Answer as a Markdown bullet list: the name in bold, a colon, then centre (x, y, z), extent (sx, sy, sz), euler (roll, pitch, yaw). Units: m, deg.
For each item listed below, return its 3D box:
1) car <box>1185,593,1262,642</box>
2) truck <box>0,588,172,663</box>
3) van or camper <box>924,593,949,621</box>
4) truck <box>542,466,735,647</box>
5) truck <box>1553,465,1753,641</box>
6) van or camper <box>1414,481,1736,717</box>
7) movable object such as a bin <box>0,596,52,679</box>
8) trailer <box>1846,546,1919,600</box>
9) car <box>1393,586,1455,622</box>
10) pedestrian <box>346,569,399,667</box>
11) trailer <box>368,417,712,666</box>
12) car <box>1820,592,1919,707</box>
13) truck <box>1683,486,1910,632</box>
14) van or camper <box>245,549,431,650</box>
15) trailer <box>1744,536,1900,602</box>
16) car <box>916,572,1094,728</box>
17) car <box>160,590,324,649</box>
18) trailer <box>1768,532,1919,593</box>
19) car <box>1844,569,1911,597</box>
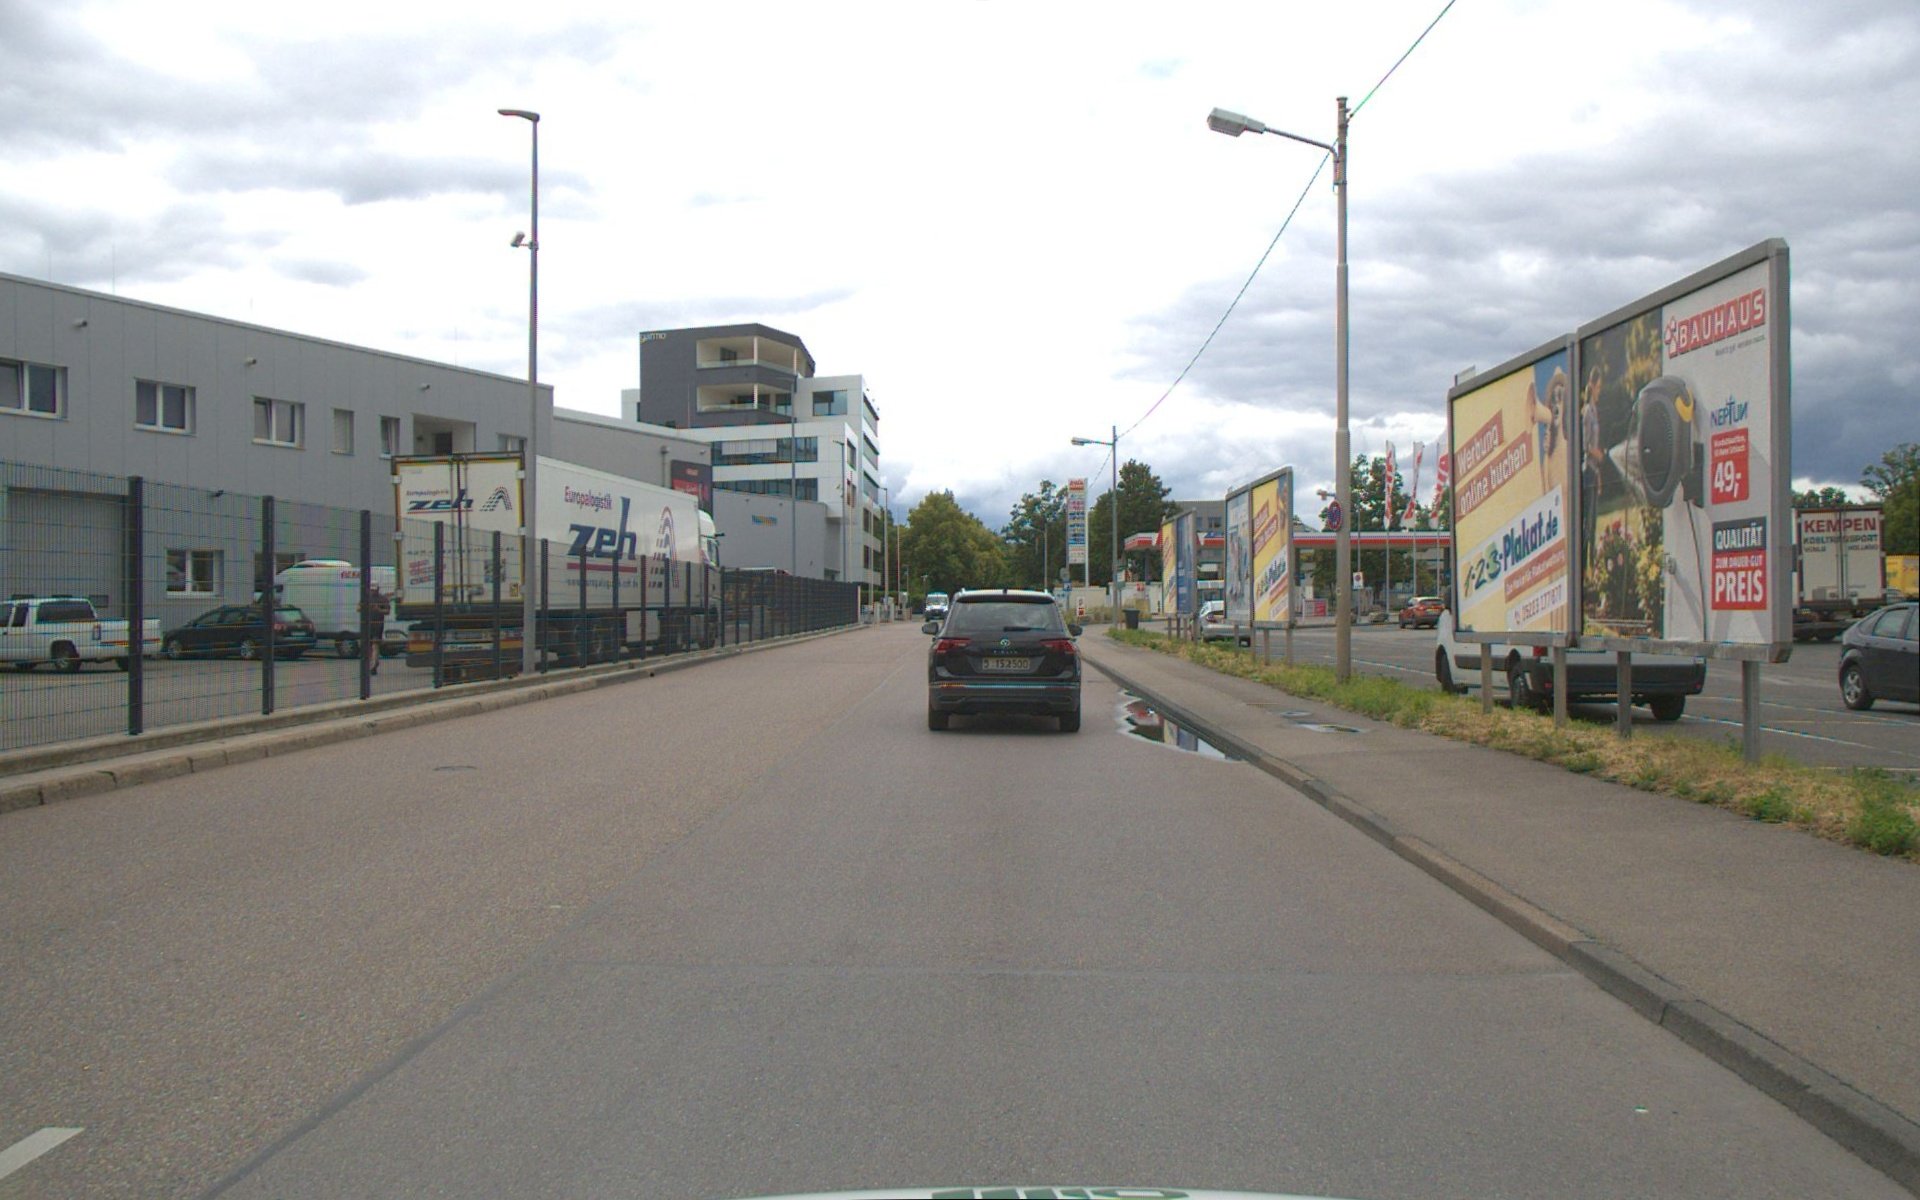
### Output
- **car**: centre (8.410, 0.528, 53.129), extent (1.850, 1.470, 4.429), euler (2, 0, 2)
- **truck**: centre (-21.272, 0.575, 38.932), extent (4.811, 1.681, 2.228), euler (0, 0, 21)
- **van or camper**: centre (-1.974, 0.579, 139.257), extent (1.952, 2.296, 4.001), euler (0, 0, 1)
- **truck**: centre (-8.322, -1.067, 43.847), extent (3.063, 4.188, 6.945), euler (-4, 0, 4)
- **truck**: centre (22.078, -1.436, 53.334), extent (3.238, 5.182, 8.517), euler (0, 0, 3)
- **van or camper**: centre (7.898, -0.014, 22.056), extent (2.209, 2.694, 6.116), euler (0, 0, 2)
- **movable object such as a bin**: centre (-22.136, 0.805, 36.039), extent (3.906, 1.766, 2.156), euler (0, 0, 23)
- **trailer**: centre (71.198, -2.008, 121.074), extent (3.523, 3.931, 18.034), euler (0, 1, 2)
- **car**: centre (23.582, 0.198, 84.211), extent (1.953, 1.736, 3.999), euler (0, 0, -1)
- **pedestrian**: centre (-11.315, 0.342, 31.873), extent (0.683, 1.861, 0.825), euler (0, 0, 5)
- **trailer**: centre (-8.763, -1.087, 37.313), extent (3.068, 4.334, 14.026), euler (-4, 0, 4)
- **car**: centre (13.196, 0.659, 21.411), extent (1.850, 1.470, 4.429), euler (2, 0, 1)
- **truck**: centre (26.077, -1.224, 52.165), extent (3.238, 4.218, 8.517), euler (0, 0, 3)
- **van or camper**: centre (-18.134, -0.002, 48.241), extent (4.868, 2.811, 2.105), euler (0, 0, 20)
- **trailer**: centre (58.300, -2.132, 112.534), extent (2.810, 4.223, 14.926), euler (0, 1, 0)
- **car**: centre (0.542, 0.552, 20.417), extent (1.952, 1.713, 4.372), euler (0, 0, 1)
- **car**: centre (-19.953, 0.540, 46.012), extent (3.904, 1.579, 2.000), euler (0, 0, 21)
- **trailer**: centre (62.511, -2.657, 115.959), extent (3.523, 3.931, 18.034), euler (0, 1, 2)
- **car**: centre (55.829, -1.027, 100.676), extent (1.952, 1.646, 4.001), euler (0, 0, 1)
